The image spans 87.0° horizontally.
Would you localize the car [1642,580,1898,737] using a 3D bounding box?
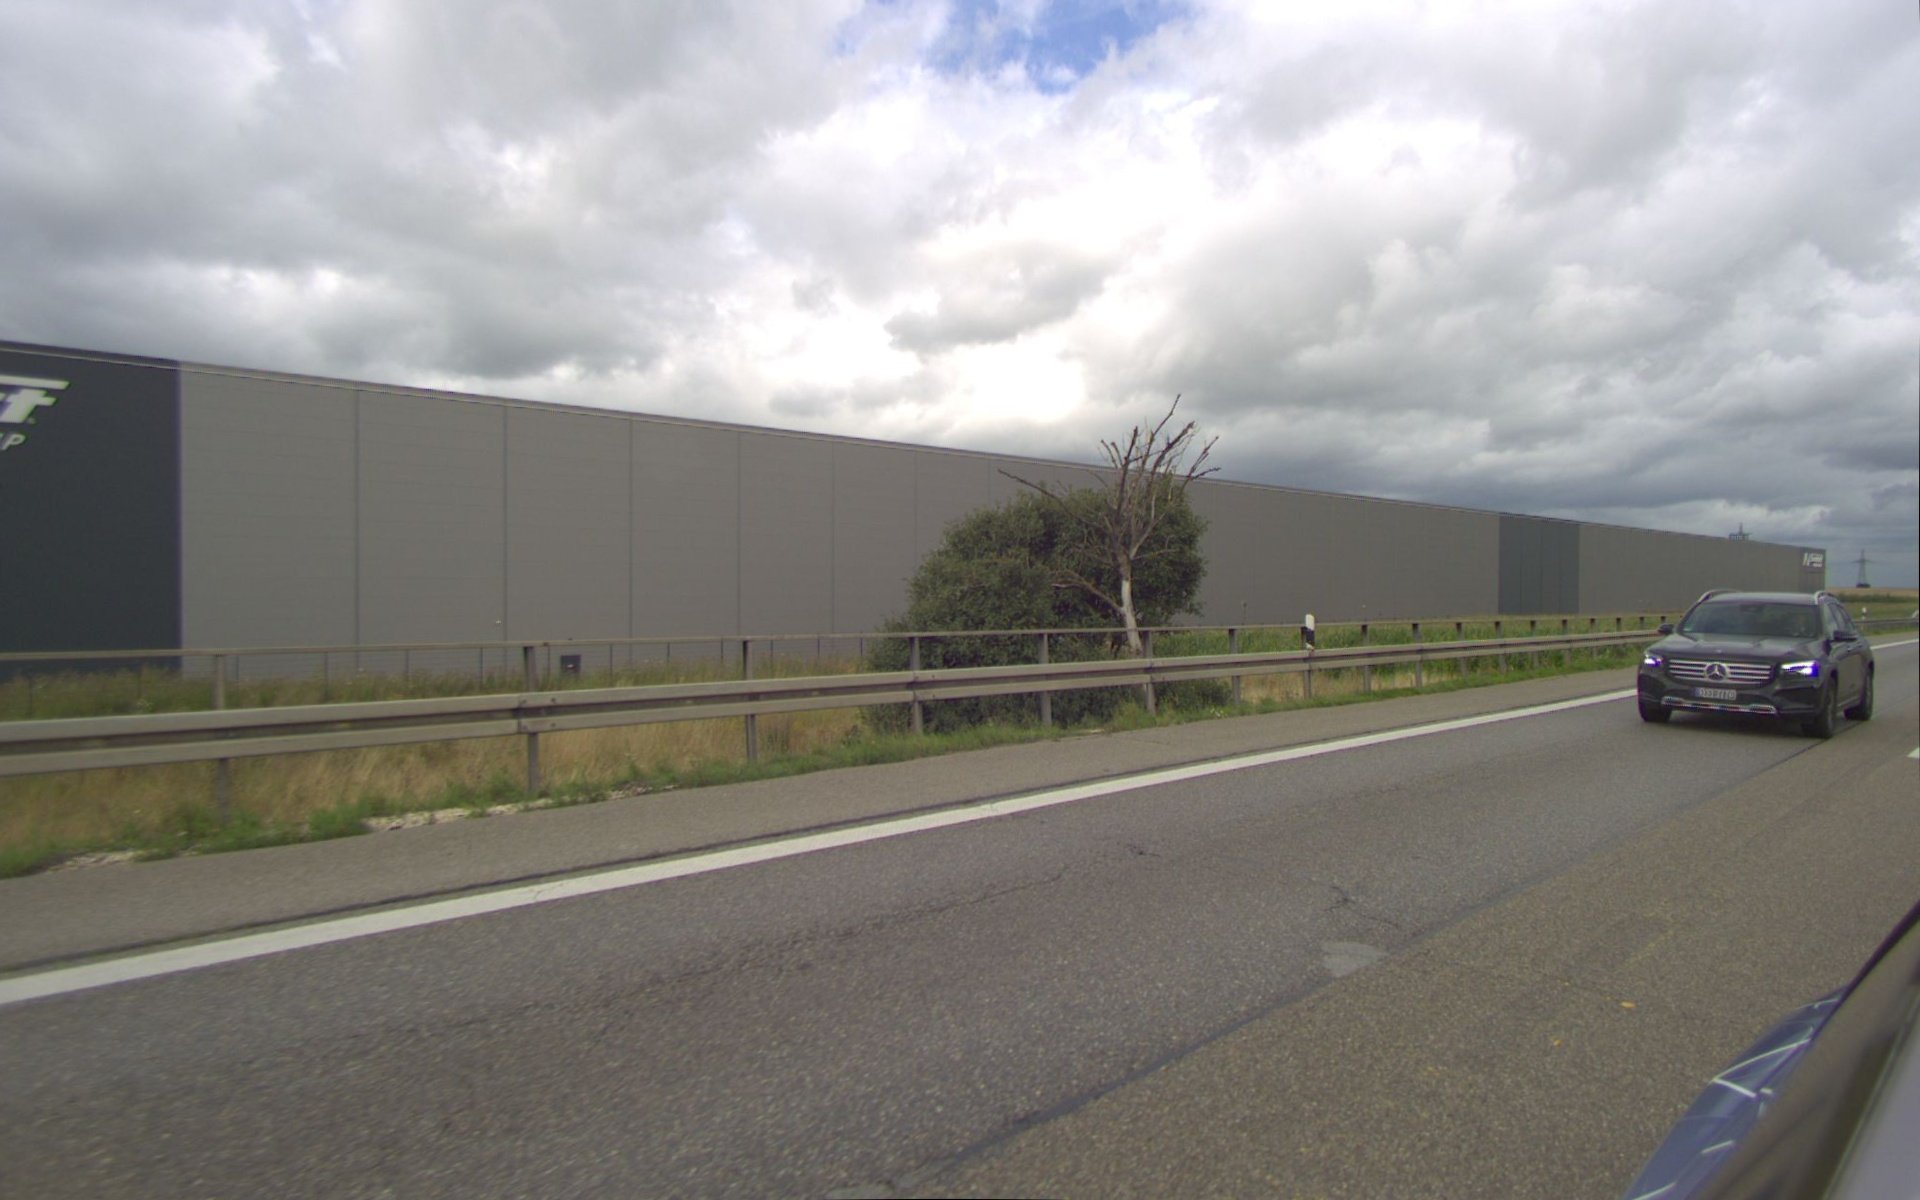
[{"bbox_3d":[10.406,0.584,12.884,4.285,1.629,1.836,-1,3,-42],"label":"car"}]
